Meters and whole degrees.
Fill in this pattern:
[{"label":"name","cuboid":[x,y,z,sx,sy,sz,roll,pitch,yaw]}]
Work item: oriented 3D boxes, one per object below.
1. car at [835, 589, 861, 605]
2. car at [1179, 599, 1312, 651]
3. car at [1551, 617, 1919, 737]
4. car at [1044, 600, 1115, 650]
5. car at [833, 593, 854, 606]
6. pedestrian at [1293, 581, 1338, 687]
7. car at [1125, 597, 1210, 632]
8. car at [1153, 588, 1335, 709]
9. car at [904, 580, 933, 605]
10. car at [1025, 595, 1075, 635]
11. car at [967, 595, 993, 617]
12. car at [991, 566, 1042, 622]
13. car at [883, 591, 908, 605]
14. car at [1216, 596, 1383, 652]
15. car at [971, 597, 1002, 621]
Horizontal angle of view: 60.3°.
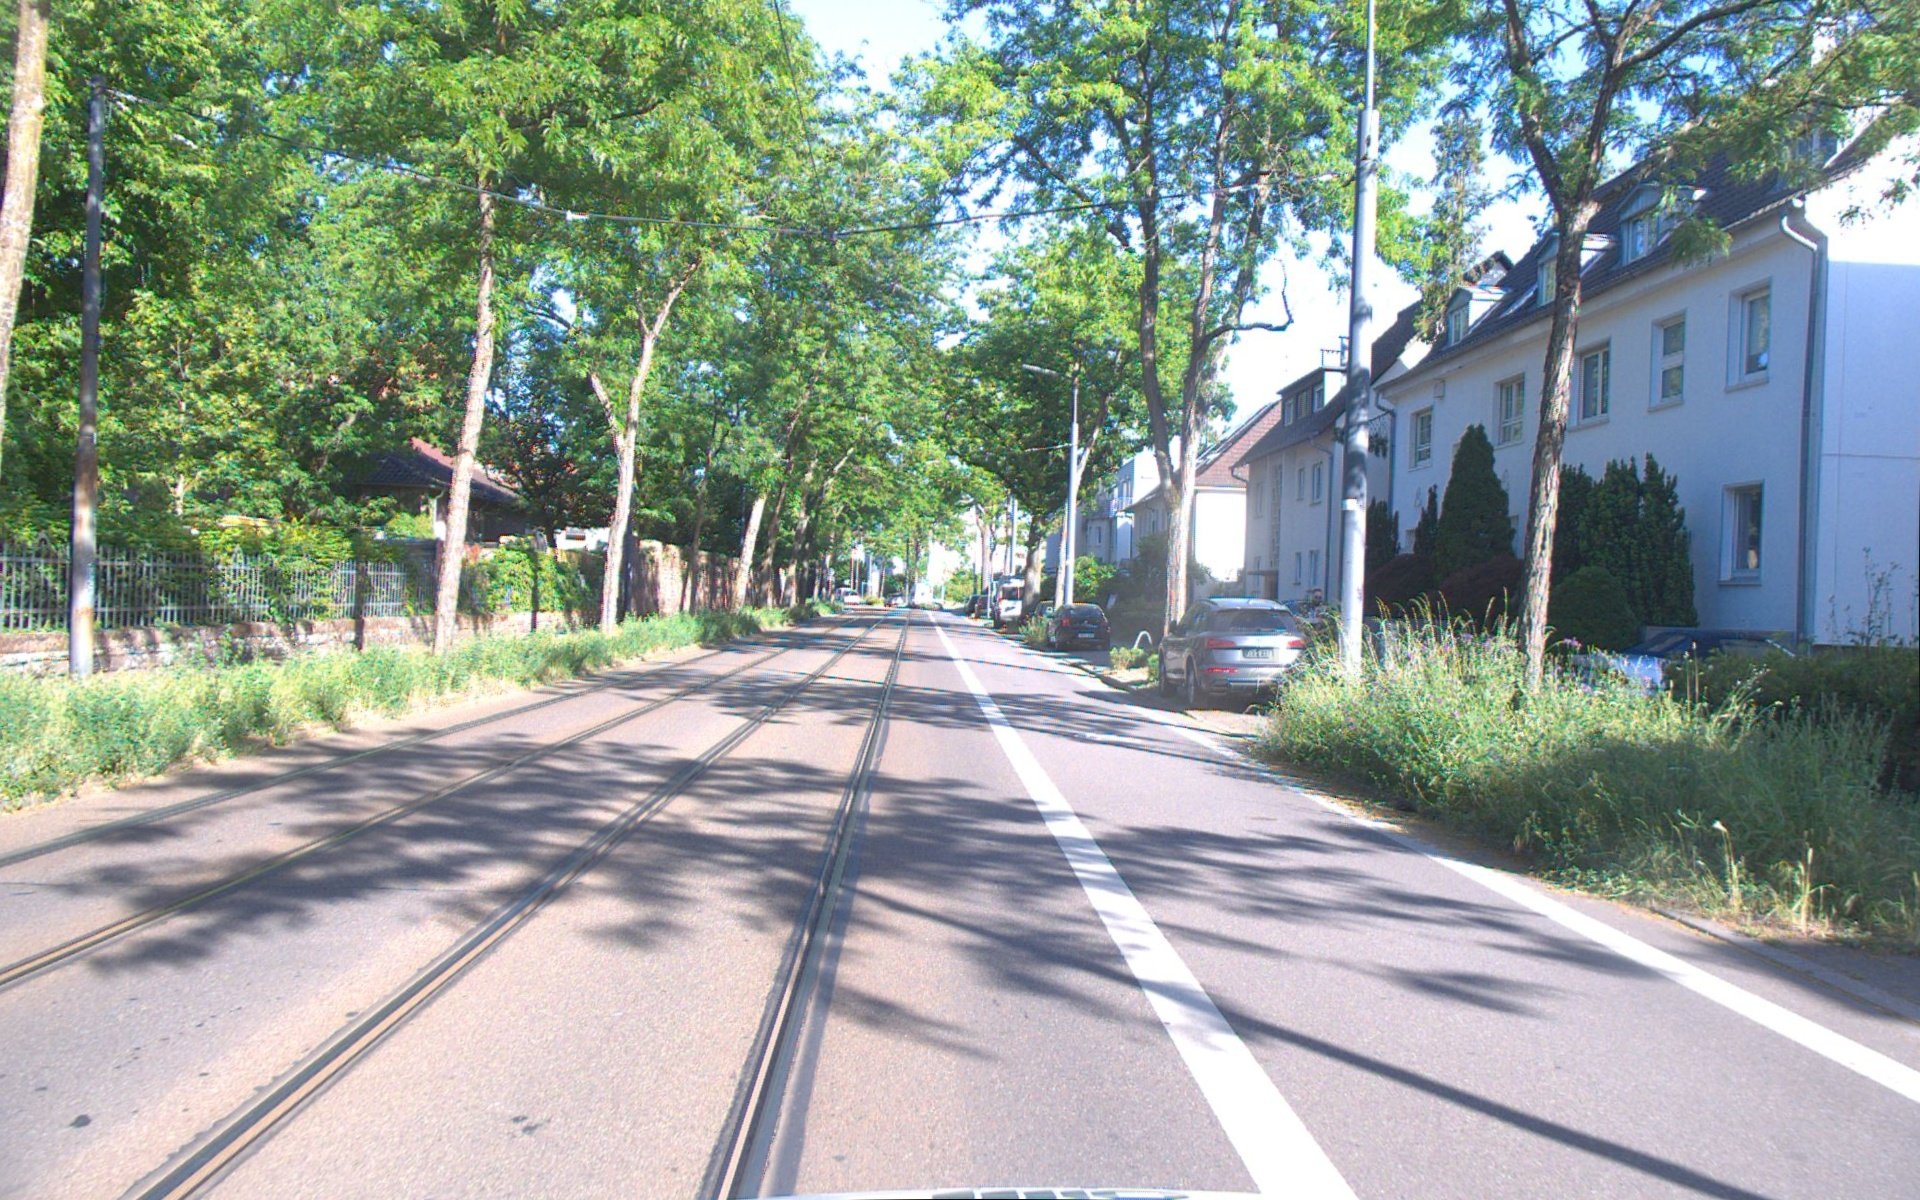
[{"label":"car","cuboid":[-12.443,-0.348,183.838,1.838,1.704,4.150,2,0,-19]},{"label":"car","cuboid":[8.668,0.742,50.343,3.667,1.515,1.737,1,0,-7]},{"label":"car","cuboid":[10.149,0.982,21.849,3.969,1.366,1.877,2,0,-2]},{"label":"car","cuboid":[3.782,0.777,52.956,1.748,1.473,4.298,-1,0,-3]},{"label":"car","cuboid":[-16.686,-0.070,236.702,1.972,1.943,4.368,0,0,-19]},{"label":"pedestrian","cuboid":[6.442,0.606,30.024,0.613,1.903,0.731,-1,0,-3]},{"label":"car","cuboid":[9.079,0.636,72.517,3.340,1.461,1.728,0,0,-15]},{"label":"car","cuboid":[4.413,0.699,26.387,1.953,1.734,4.475,-1,0,-2]},{"label":"car","cuboid":[-4.235,-0.772,169.452,1.960,2.501,4.492,2,0,-14]},{"label":"car","cuboid":[3.378,0.554,62.602,1.594,1.422,3.644,-1,0,-2]},{"label":"car","cuboid":[1.600,0.492,133.608,1.961,1.704,4.393,0,0,2]},{"label":"car","cuboid":[2.828,-0.293,84.032,2.200,2.700,5.583,0,0,-2]},{"label":"car","cuboid":[-7.314,-0.224,187.105,1.969,1.588,4.377,2,0,-14]},{"label":"car","cuboid":[9.482,0.657,46.470,4.330,1.515,1.858,0,0,1]},{"label":"car","cuboid":[1.852,0.613,116.104,1.962,1.704,4.390,0,0,-2]}]
